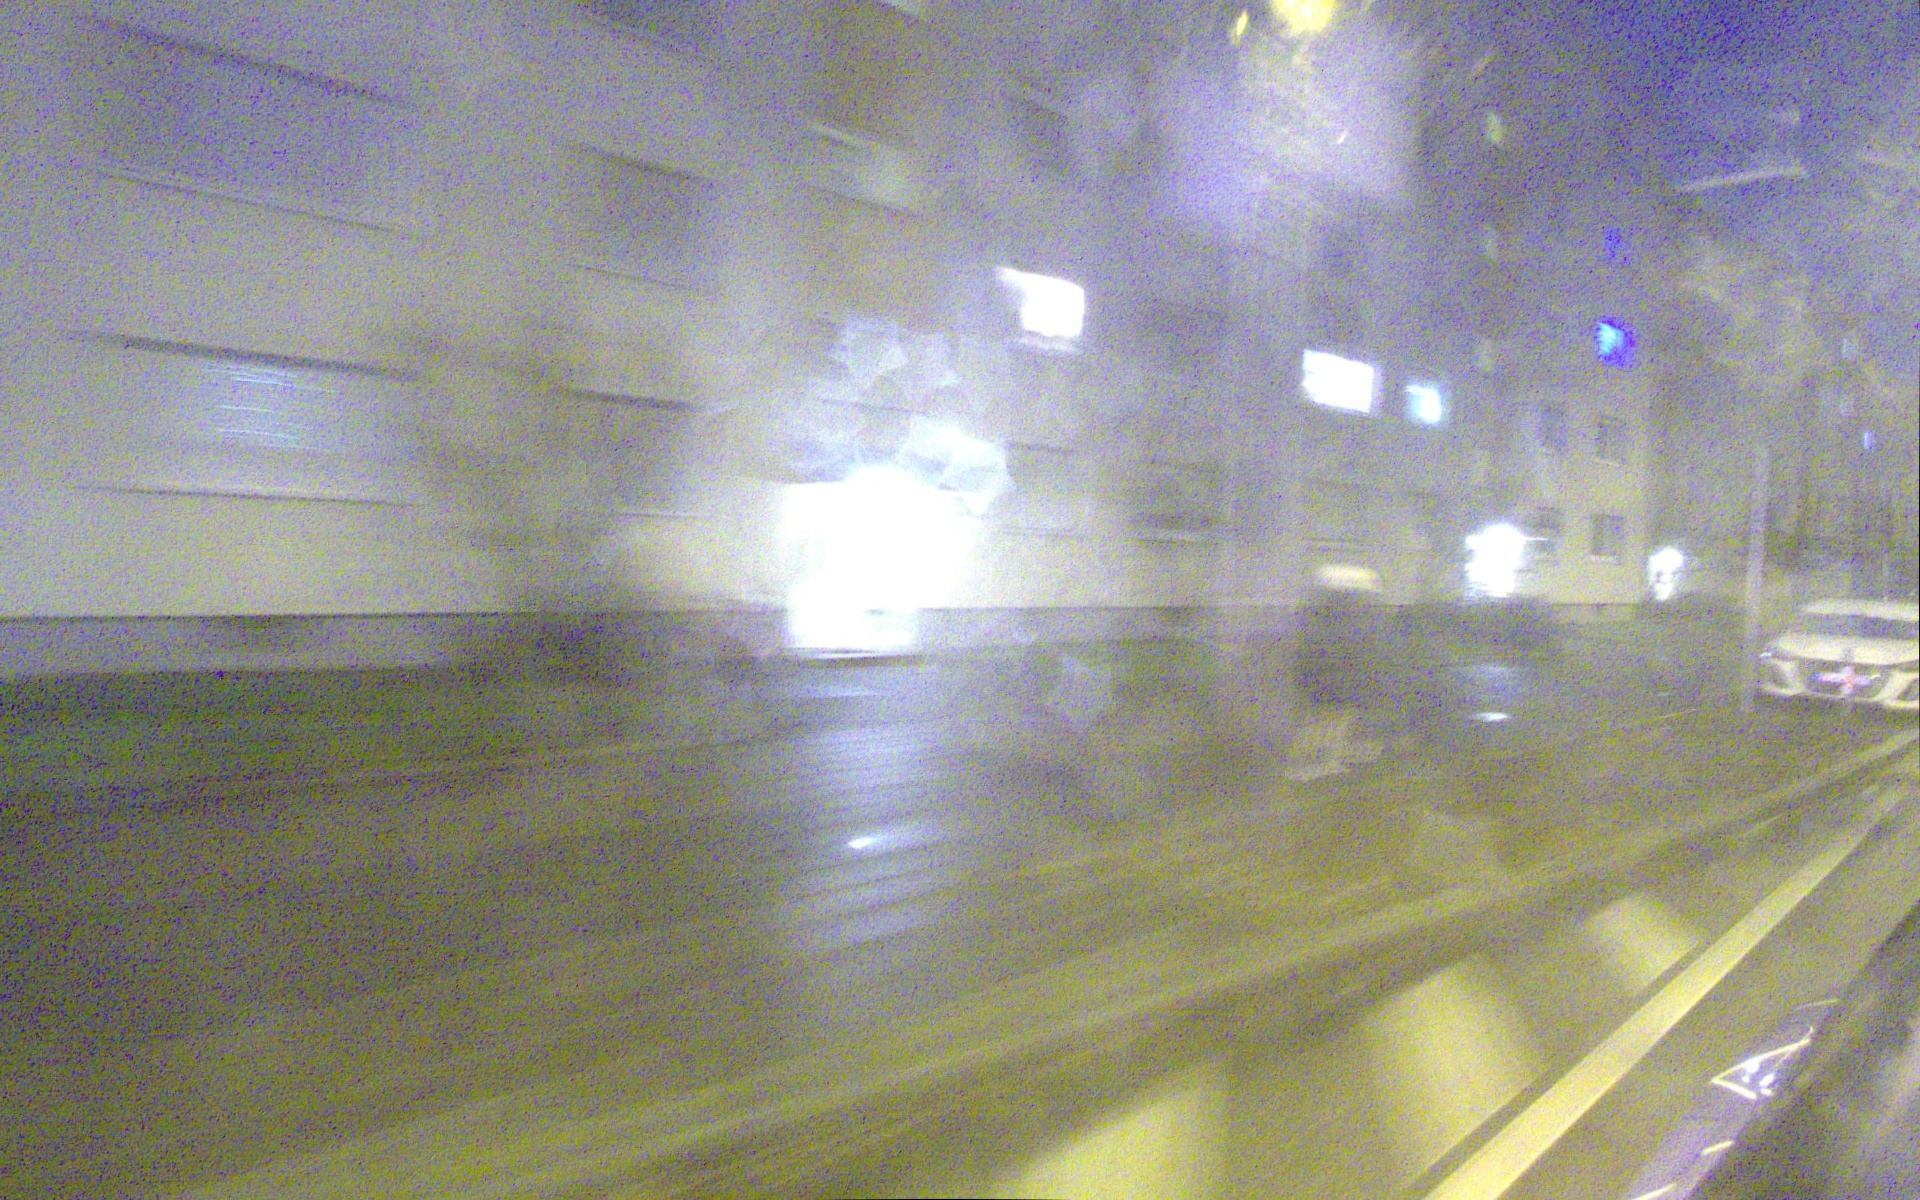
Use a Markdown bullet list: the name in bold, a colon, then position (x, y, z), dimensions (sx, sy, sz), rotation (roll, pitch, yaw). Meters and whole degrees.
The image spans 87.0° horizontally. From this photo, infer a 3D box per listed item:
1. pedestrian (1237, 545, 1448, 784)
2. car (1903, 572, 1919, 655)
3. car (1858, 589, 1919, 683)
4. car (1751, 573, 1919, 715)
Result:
- **pedestrian**: position (2.816, 0.415, 7.485), dimensions (0.999, 1.595, 1.053), rotation (0, 1, -35)
- **car**: position (21.343, 0.322, 21.195), dimensions (4.410, 1.657, 1.826), rotation (0, 4, -41)
- **car**: position (16.964, 0.606, 17.288), dimensions (4.410, 1.439, 1.826), rotation (0, 4, -41)
- **car**: position (12.407, 0.496, 13.652), dimensions (4.699, 1.549, 1.826), rotation (0, 4, -41)
